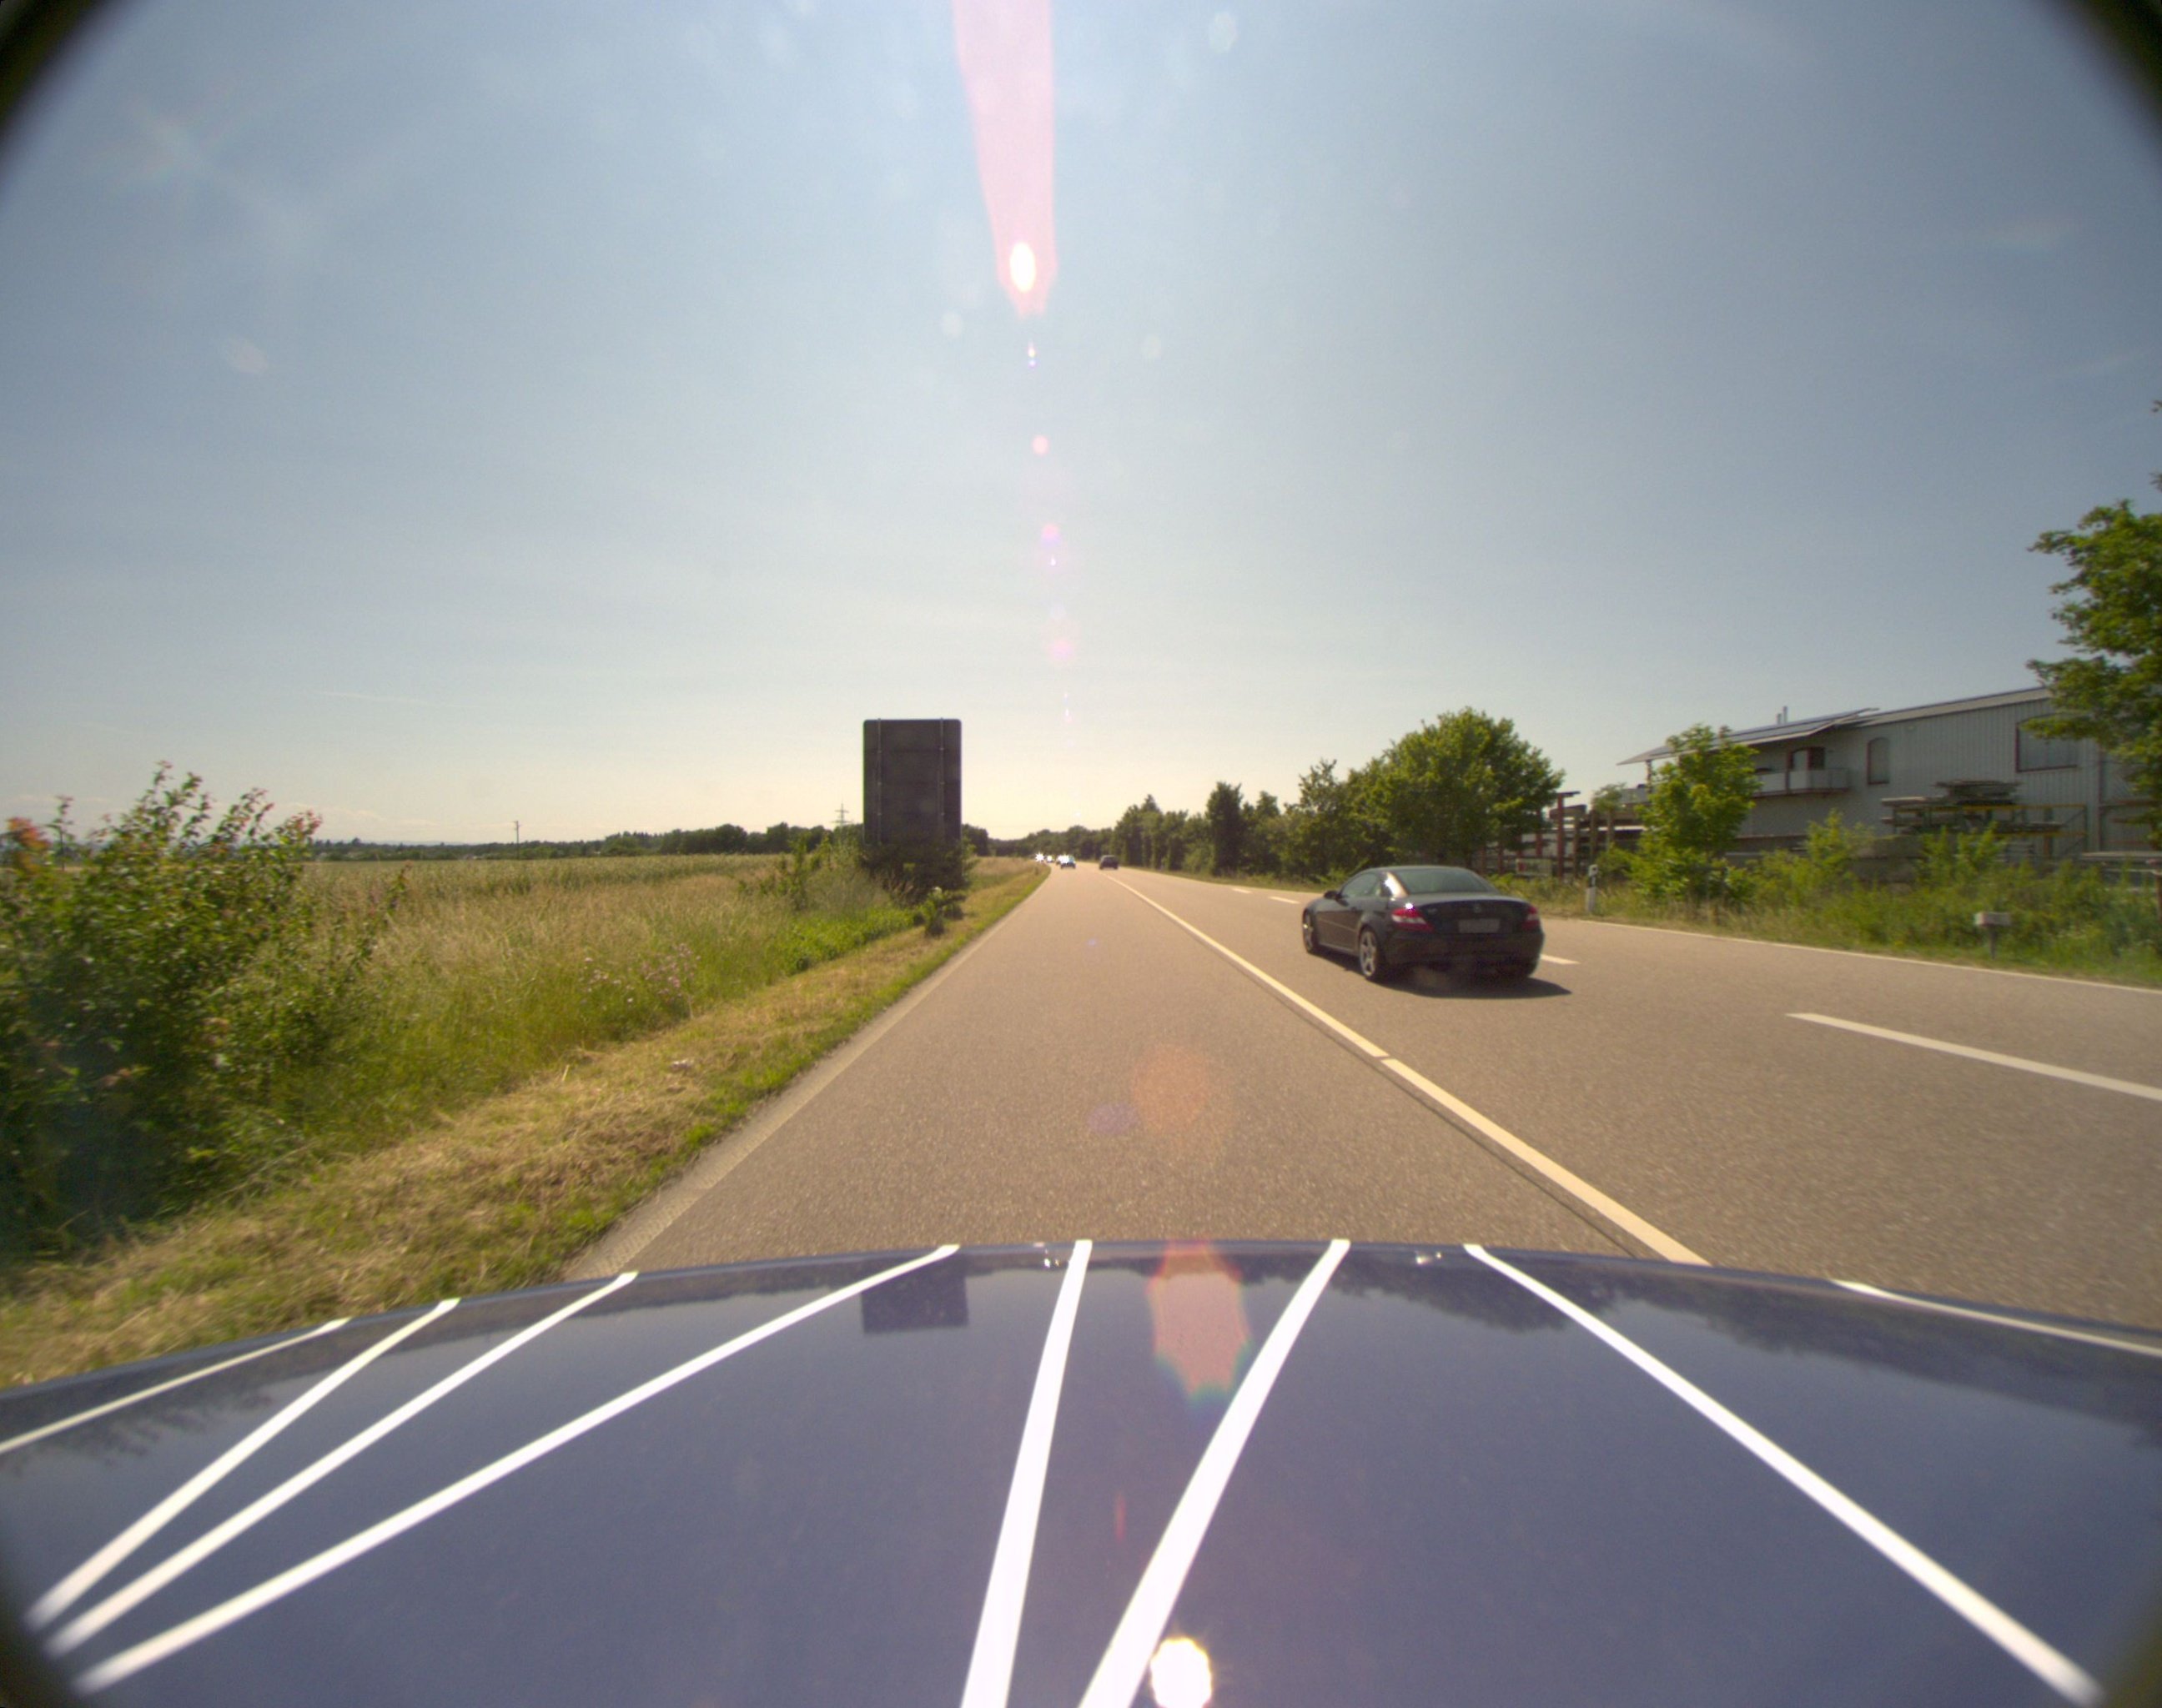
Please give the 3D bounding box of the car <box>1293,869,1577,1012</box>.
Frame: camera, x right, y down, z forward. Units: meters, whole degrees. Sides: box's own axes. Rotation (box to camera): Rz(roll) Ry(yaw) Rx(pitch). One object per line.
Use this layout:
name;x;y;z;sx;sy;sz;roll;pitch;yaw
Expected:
car;3.988;0.881;9.311;1.640;1.261;3.811;-2;0;-1

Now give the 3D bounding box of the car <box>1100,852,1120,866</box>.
car;3.017;0.485;79.618;1.786;1.412;4.533;-2;0;-1

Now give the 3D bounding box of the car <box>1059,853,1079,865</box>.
car;-1.454;0.595;90.705;1.695;1.431;3.706;-1;0;-11

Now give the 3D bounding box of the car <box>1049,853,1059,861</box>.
car;-5.935;0.721;167.327;1.555;1.659;3.996;-2;1;-9

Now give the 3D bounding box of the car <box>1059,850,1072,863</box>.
car;-2.582;0.396;127.212;1.999;2.002;3.999;-2;0;-3
